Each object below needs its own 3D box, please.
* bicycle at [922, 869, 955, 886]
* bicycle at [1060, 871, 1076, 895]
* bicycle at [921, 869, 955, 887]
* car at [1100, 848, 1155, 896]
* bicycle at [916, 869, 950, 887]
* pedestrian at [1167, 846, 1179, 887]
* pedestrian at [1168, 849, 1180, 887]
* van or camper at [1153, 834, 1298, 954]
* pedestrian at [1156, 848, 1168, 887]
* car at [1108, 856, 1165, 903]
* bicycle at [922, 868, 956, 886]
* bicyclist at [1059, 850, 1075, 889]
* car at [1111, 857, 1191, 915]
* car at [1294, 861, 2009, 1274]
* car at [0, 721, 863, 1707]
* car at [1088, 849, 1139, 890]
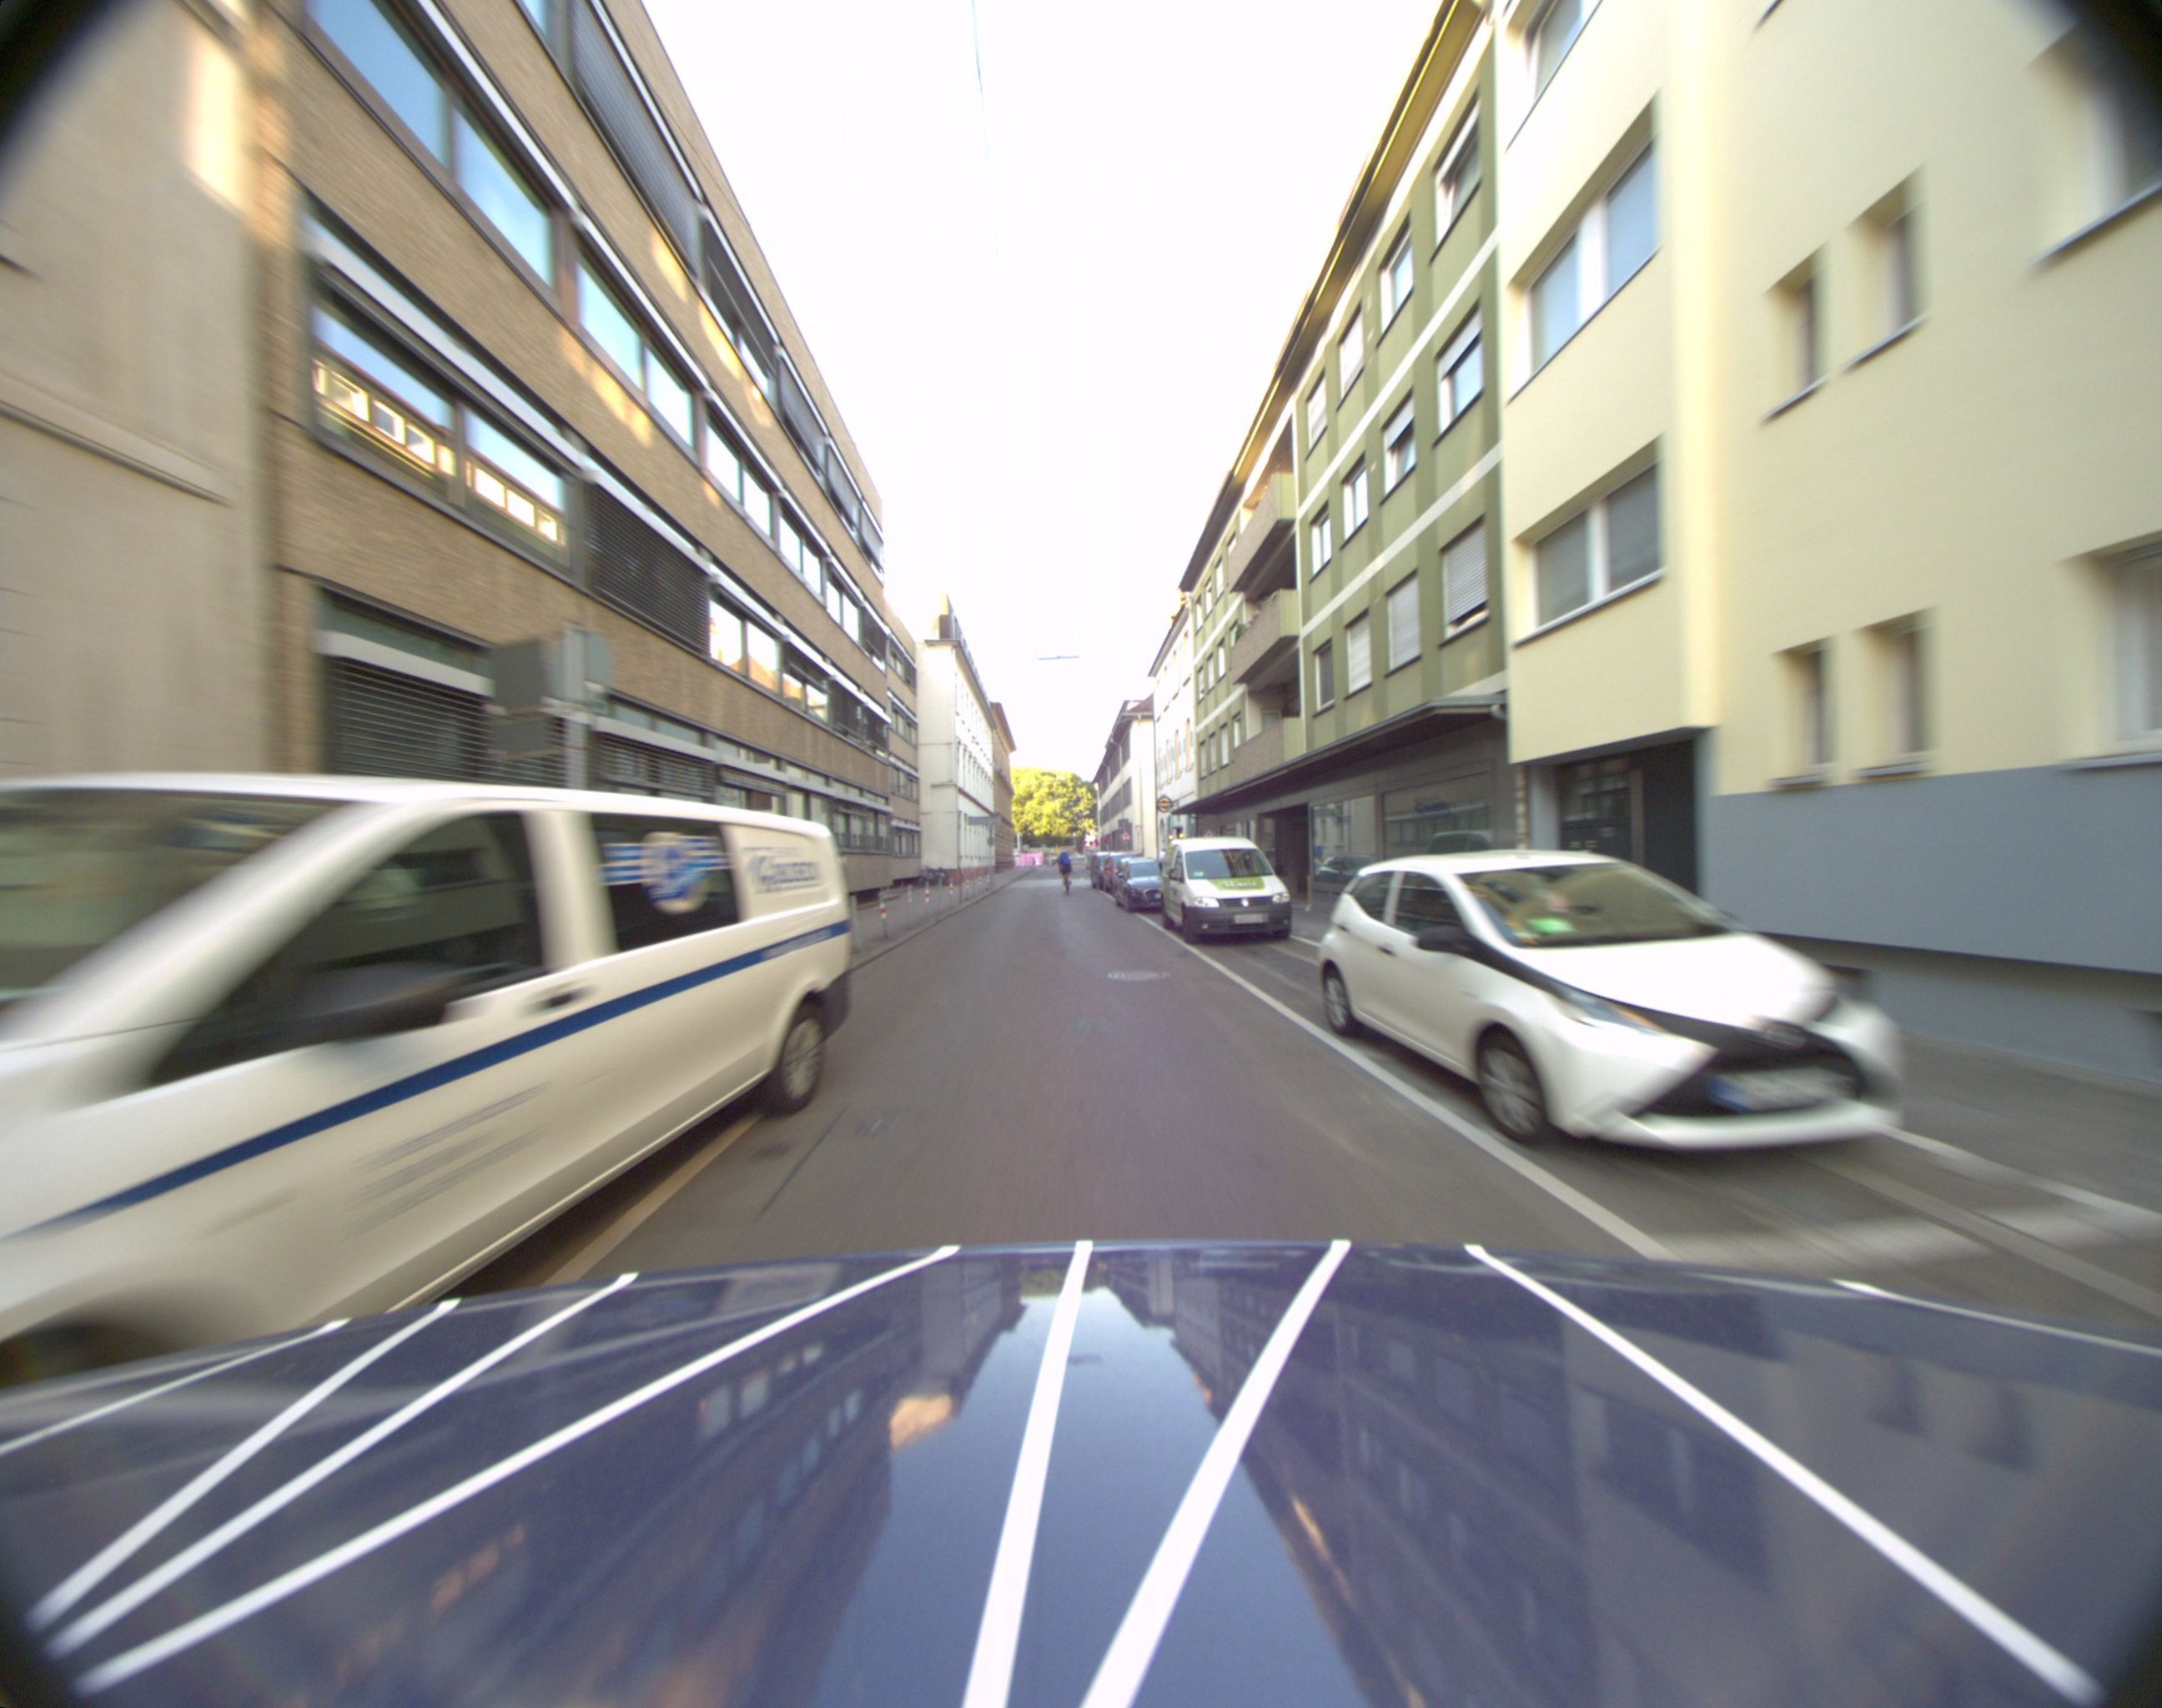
[{"bbox_3d":[-8.138,1.335,43.414,1.800,0.917,0.396,-2,1,-6],"label":"bicycle"},{"bbox_3d":[-0.571,1.232,32.597,0.635,0.916,1.779,-2,0,-2],"label":"bicycle"},{"bbox_3d":[-8.062,1.334,42.847,1.801,0.917,0.516,-2,1,-10],"label":"bicycle"},{"bbox_3d":[1.884,0.717,32.149,1.777,1.800,4.509,-3,0,-3],"label":"car"},{"bbox_3d":[-8.030,1.292,41.275,1.745,0.917,0.538,-2,1,-9],"label":"bicycle"},{"bbox_3d":[4.017,0.534,33.187,0.407,1.740,0.470,-2,1,0],"label":"pedestrian"},{"bbox_3d":[4.222,0.630,34.504,0.407,1.740,0.470,-2,1,0],"label":"pedestrian"},{"bbox_3d":[2.461,0.616,14.002,1.777,1.837,4.177,-1,0,-1],"label":"van or camper"},{"bbox_3d":[3.656,0.591,34.229,0.450,1.740,0.470,-2,1,0],"label":"pedestrian"},{"bbox_3d":[1.939,0.858,27.367,1.628,1.476,3.877,-1,0,-2],"label":"car"},{"bbox_3d":[-7.875,1.282,42.096,1.801,0.917,0.538,-2,1,-10],"label":"bicycle"},{"bbox_3d":[-0.609,0.660,32.582,0.625,1.630,1.081,-2,1,-2],"label":"bicyclist"},{"bbox_3d":[1.908,0.851,21.781,1.628,1.407,3.979,-3,0,-3],"label":"car"},{"bbox_3d":[2.778,0.856,4.770,1.666,1.440,3.520,-5,0,-2],"label":"car"},{"bbox_3d":[-2.667,0.747,2.950,1.941,1.886,5.277,-1,0,2],"label":"car"},{"bbox_3d":[1.514,0.707,37.271,1.882,1.800,4.448,-3,0,-5],"label":"car"}]
